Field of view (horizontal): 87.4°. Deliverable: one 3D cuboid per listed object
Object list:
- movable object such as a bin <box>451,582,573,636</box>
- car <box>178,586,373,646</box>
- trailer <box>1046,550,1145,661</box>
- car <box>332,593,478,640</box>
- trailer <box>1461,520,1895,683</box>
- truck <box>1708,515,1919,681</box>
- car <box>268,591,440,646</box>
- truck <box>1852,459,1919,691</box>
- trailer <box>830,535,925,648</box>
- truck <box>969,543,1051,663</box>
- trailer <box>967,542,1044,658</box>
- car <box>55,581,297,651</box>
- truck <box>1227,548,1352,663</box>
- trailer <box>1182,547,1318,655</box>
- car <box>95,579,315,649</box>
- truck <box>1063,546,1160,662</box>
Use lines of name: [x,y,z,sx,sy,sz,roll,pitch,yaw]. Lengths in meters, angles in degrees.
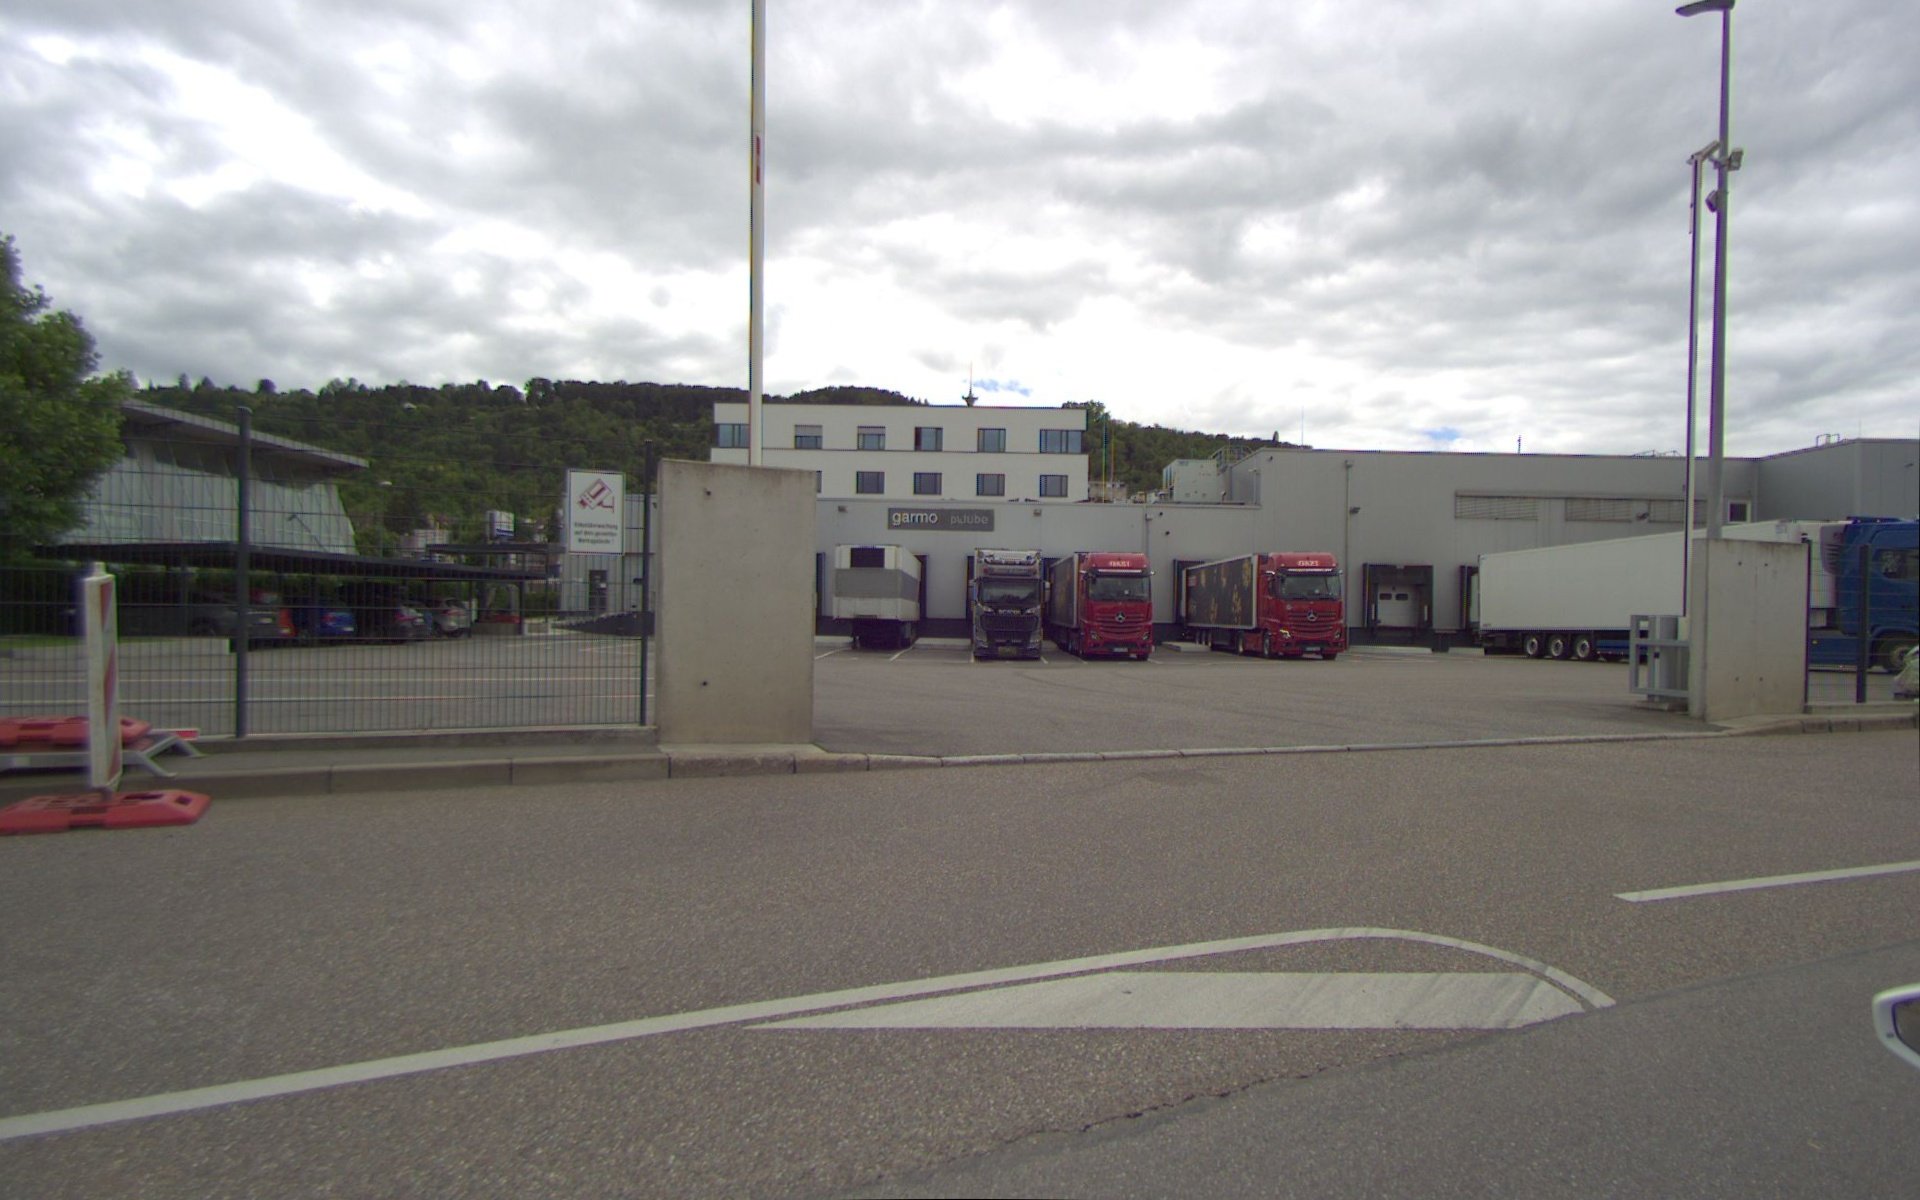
movable object such as a bin: [-20.169,0.417,45.399,4.514,2.255,2.079,2,-1,-6]
car: [-19.689,0.471,29.048,4.167,1.579,1.966,2,-1,-6]
trailer: [5.627,0.315,43.768,2.737,4.131,10.997,2,-1,0]
car: [-20.255,0.603,36.817,4.167,1.579,1.966,2,-1,-6]
trailer: [22.617,0.119,33.653,2.980,4.239,14.001,2,-1,-8]
truck: [23.798,-0.021,26.741,2.901,4.074,5.562,2,-1,-34]
car: [-19.029,0.575,31.721,4.167,1.579,1.966,2,-1,-6]
truck: [20.186,-0.337,18.298,6.834,4.074,2.919,2,-1,-19]
trailer: [-3.306,-0.221,43.356,3.030,4.131,11.411,2,-1,0]
truck: [1.766,0.140,37.317,2.747,4.093,4.165,2,-1,0]
trailer: [1.762,0.099,43.853,2.737,4.358,11.183,2,-1,0]
car: [-18.896,0.398,24.390,4.167,1.512,1.966,2,-1,-6]
truck: [12.367,0.247,38.250,2.747,3.980,5.926,2,-1,0]
trailer: [12.482,0.136,44.512,2.737,4.131,10.997,2,-1,0]
car: [-19.845,0.379,26.572,4.167,1.669,1.966,2,-1,-6]
truck: [5.610,0.204,38.211,2.747,3.980,5.926,2,-1,0]
